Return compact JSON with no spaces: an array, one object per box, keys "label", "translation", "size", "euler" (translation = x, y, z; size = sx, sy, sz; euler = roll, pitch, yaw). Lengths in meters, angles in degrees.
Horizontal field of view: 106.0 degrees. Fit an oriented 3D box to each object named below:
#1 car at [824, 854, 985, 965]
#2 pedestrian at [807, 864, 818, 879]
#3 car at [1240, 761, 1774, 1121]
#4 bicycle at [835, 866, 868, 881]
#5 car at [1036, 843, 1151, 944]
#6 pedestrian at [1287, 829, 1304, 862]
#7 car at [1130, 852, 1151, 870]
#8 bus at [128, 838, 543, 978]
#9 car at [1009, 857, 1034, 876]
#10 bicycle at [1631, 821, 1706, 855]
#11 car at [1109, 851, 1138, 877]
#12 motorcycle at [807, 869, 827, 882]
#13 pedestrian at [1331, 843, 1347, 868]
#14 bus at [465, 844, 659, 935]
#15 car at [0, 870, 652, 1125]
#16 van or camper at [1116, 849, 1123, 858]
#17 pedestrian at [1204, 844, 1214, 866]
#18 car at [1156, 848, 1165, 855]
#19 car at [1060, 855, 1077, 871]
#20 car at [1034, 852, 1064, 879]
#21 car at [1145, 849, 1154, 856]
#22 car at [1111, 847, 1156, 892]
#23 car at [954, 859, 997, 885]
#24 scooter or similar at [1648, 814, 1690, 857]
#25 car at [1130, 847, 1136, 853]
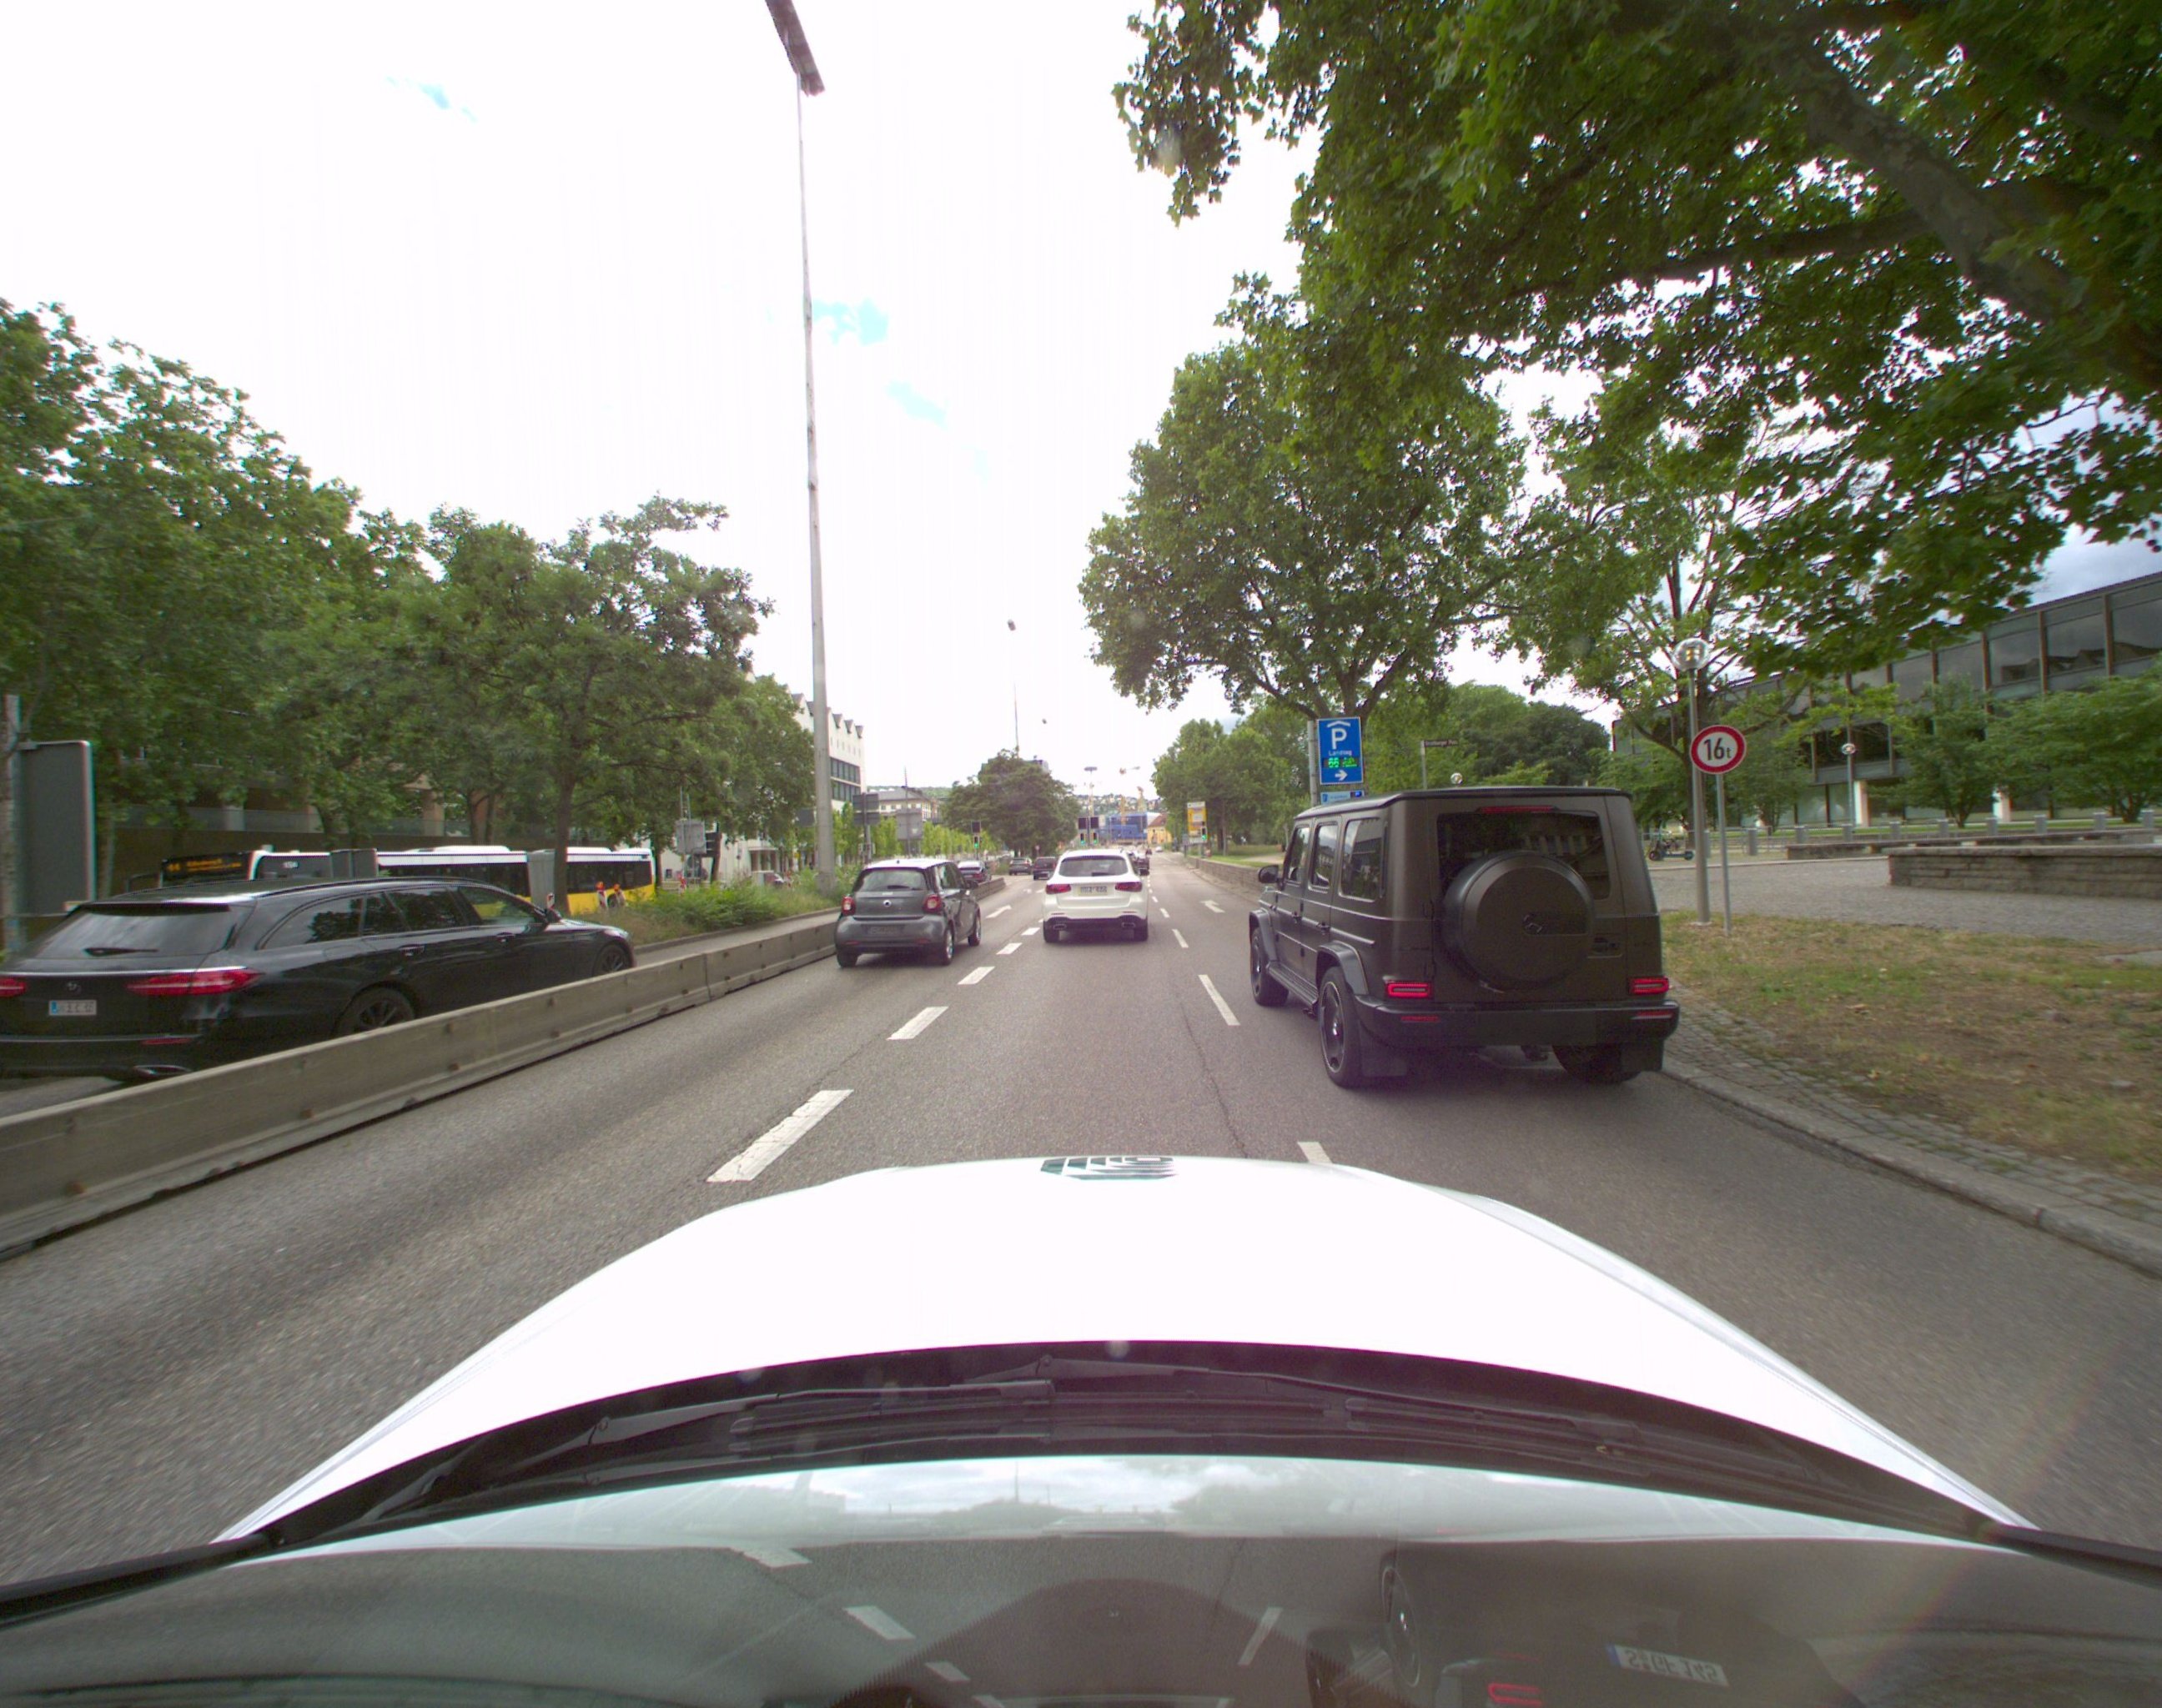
[{"label":"car","translation":[-2.645,0.790,13.015],"size":[1.621,1.509,3.542],"euler":[-1,-1,3]},{"label":"pedestrian","translation":[-28.843,1.918,87.504],"size":[0.887,1.557,0.591],"euler":[-2,-1,-40]},{"label":"car","translation":[2.708,0.488,6.662],"size":[1.971,1.893,4.707],"euler":[0,-1,1]},{"label":"bicycle","translation":[-28.228,2.414,100.047],"size":[3.600,1.684,1.183],"euler":[-3,0,1]},{"label":"car","translation":[0.281,0.695,15.659],"size":[1.933,1.684,4.002],"euler":[0,-1,2]},{"label":"pedestrian","translation":[13.578,-0.539,51.601],"size":[0.853,2.014,0.815],"euler":[0,-2,1]},{"label":"car","translation":[5.449,0.657,74.569],"size":[1.713,1.584,4.001],"euler":[0,0,1]},{"label":"bus","translation":[-21.843,1.345,25.304],"size":[2.901,3.305,10.453],"euler":[-3,0,2]},{"label":"car","translation":[-4.989,1.039,68.593],"size":[1.746,1.553,4.001],"euler":[0,0,1]},{"label":"bicycle","translation":[21.475,-0.581,29.781],"size":[2.182,1.141,0.686],"euler":[-3,0,3]},{"label":"car","translation":[2.712,0.628,52.326],"size":[1.713,1.584,4.001],"euler":[0,0,1]},{"label":"motorcycle","translation":[-27.650,2.227,85.232],"size":[1.891,1.234,0.654],"euler":[-3,-3,-23]},{"label":"pedestrian","translation":[16.299,0.104,51.444],"size":[0.783,1.527,0.683],"euler":[0,-1,3]},{"label":"bus","translation":[-21.501,1.348,34.432],"size":[2.912,3.303,7.710],"euler":[-3,0,2]},{"label":"car","translation":[-6.125,0.920,7.322],"size":[1.805,1.460,4.864],"euler":[-2,-1,2]},{"label":"van or camper","translation":[10.373,-0.143,218.409],"size":[1.915,2.320,4.001],"euler":[-2,-2,2]},{"label":"pedestrian","translation":[10.040,0.076,63.999],"size":[0.695,1.656,0.684],"euler":[0,-1,2]},{"label":"car","translation":[21.887,-0.680,223.157],"size":[1.988,1.618,3.997],"euler":[0,-1,-2]},{"label":"car","translation":[-1.235,0.877,82.509],"size":[1.713,1.584,3.999],"euler":[0,0,0]},{"label":"car","translation":[-2.032,0.736,52.784],"size":[1.713,1.678,4.001],"euler":[0,0,1]},{"label":"car","translation":[16.401,-0.280,195.401],"size":[1.713,1.584,4.001],"euler":[0,0,1]},{"label":"car","translation":[2.049,0.611,31.963],"size":[1.665,1.628,4.003],"euler":[0,-1,3]},{"label":"car","translation":[-5.600,0.941,43.498],"size":[1.713,1.292,4.001],"euler":[0,0,1]},{"label":"scooter or similar","translation":[17.610,-0.552,24.411],"size":[0.713,1.247,0.729],"euler":[0,-1,1]},{"label":"car","translation":[15.107,-1.208,237.217],"size":[1.713,1.584,4.001],"euler":[0,0,1]}]
